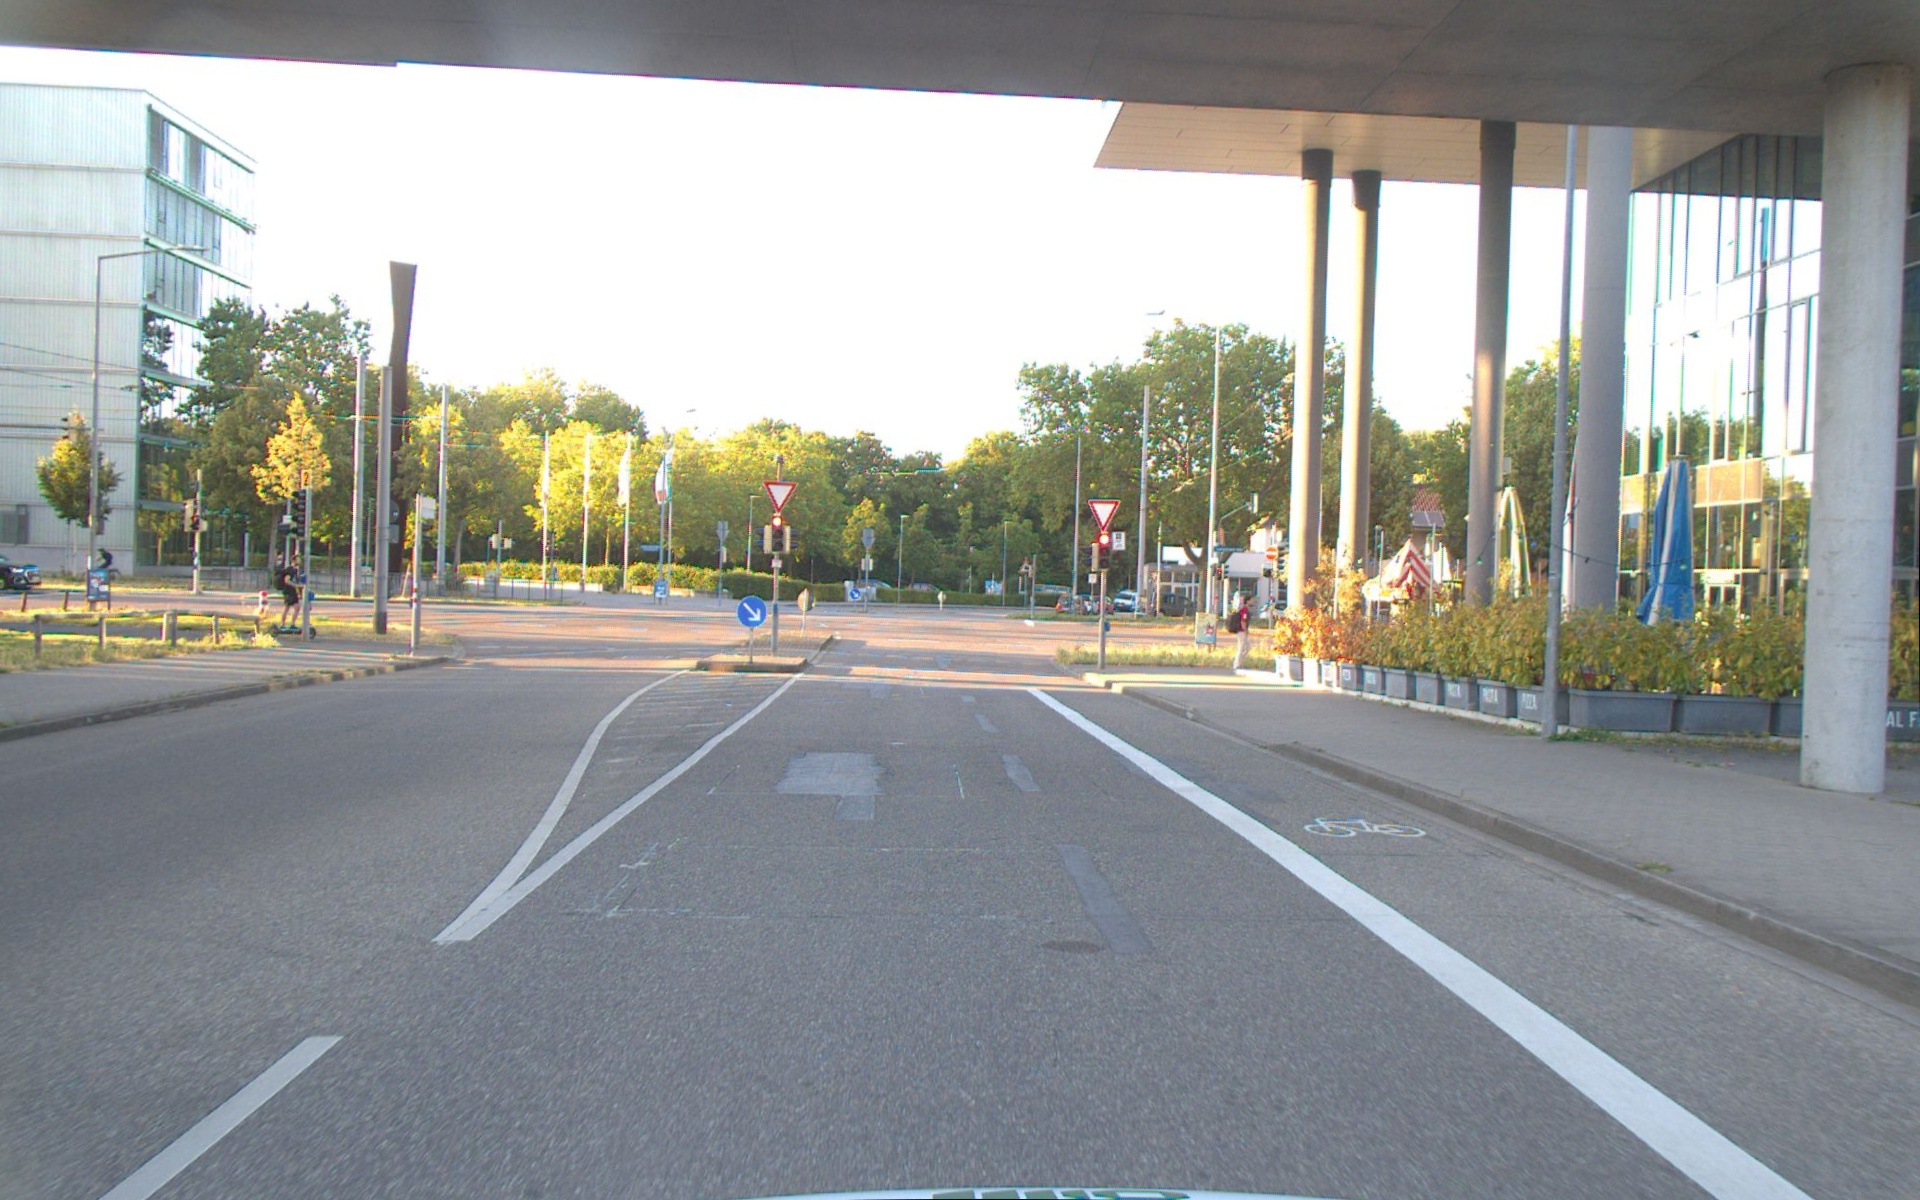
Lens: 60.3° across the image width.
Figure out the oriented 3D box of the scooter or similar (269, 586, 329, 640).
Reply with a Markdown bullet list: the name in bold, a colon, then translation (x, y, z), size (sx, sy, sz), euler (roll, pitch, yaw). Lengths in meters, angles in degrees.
- **scooter or similar**: translation (-15.648, 0.303, 39.164), size (1.190, 1.221, 0.503), euler (2, 1, -6)

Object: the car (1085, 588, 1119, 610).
- **car**: translation (11.001, -0.094, 127.875), size (1.467, 1.634, 3.401), euler (3, 2, 25)

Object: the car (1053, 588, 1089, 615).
- **car**: translation (8.082, 0.092, 120.578), size (1.467, 1.791, 3.401), euler (2, 2, 25)

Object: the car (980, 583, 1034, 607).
- **car**: translation (4.181, -0.462, 147.269), size (4.585, 1.901, 2.014), euler (2, 2, 5)

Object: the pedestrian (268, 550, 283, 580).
- **pedestrian**: translation (-48.364, -2.484, 116.881), size (0.681, 2.048, 0.699), euler (2, 1, 18)

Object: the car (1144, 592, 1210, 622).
- **car**: translation (14.909, 0.489, 113.690), size (4.373, 1.848, 1.946), euler (2, 2, 4)

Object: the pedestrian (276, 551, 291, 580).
- **pedestrian**: translation (-48.123, -2.476, 117.687), size (0.681, 2.048, 0.699), euler (2, 1, 18)

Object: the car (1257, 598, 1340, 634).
- **car**: translation (19.776, 0.925, 96.753), size (4.375, 1.848, 1.945), euler (2, 2, 0)

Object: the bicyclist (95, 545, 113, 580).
- **bicyclist**: translation (-43.896, -1.933, 84.821), size (0.747, 1.753, 0.548), euler (1, 2, -27)

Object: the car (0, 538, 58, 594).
- **car**: translation (-33.927, -1.219, 57.169), size (4.378, 1.848, 1.944), euler (2, 2, -3)

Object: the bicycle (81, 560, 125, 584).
- **bicycle**: translation (-43.938, -1.429, 84.815), size (1.939, 1.148, 0.555), euler (1, 2, -27)

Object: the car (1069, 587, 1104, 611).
- **car**: translation (9.490, -0.081, 124.239), size (1.467, 1.634, 3.401), euler (3, 2, 25)

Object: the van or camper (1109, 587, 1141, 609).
- **van or camper**: translation (15.584, -0.188, 155.701), size (1.594, 2.016, 3.801), euler (3, 2, 28)

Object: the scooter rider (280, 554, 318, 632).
- **scooter rider**: translation (-15.647, -0.175, 39.155), size (0.692, 1.813, 0.442), euler (2, 1, -5)

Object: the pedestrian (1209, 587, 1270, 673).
- **pedestrian**: translation (6.279, 0.665, 37.187), size (1.036, 1.865, 0.892), euler (1, 1, -15)

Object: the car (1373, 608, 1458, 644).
- **car**: translation (26.513, 1.522, 96.333), size (4.375, 1.848, 1.945), euler (2, 2, 0)
